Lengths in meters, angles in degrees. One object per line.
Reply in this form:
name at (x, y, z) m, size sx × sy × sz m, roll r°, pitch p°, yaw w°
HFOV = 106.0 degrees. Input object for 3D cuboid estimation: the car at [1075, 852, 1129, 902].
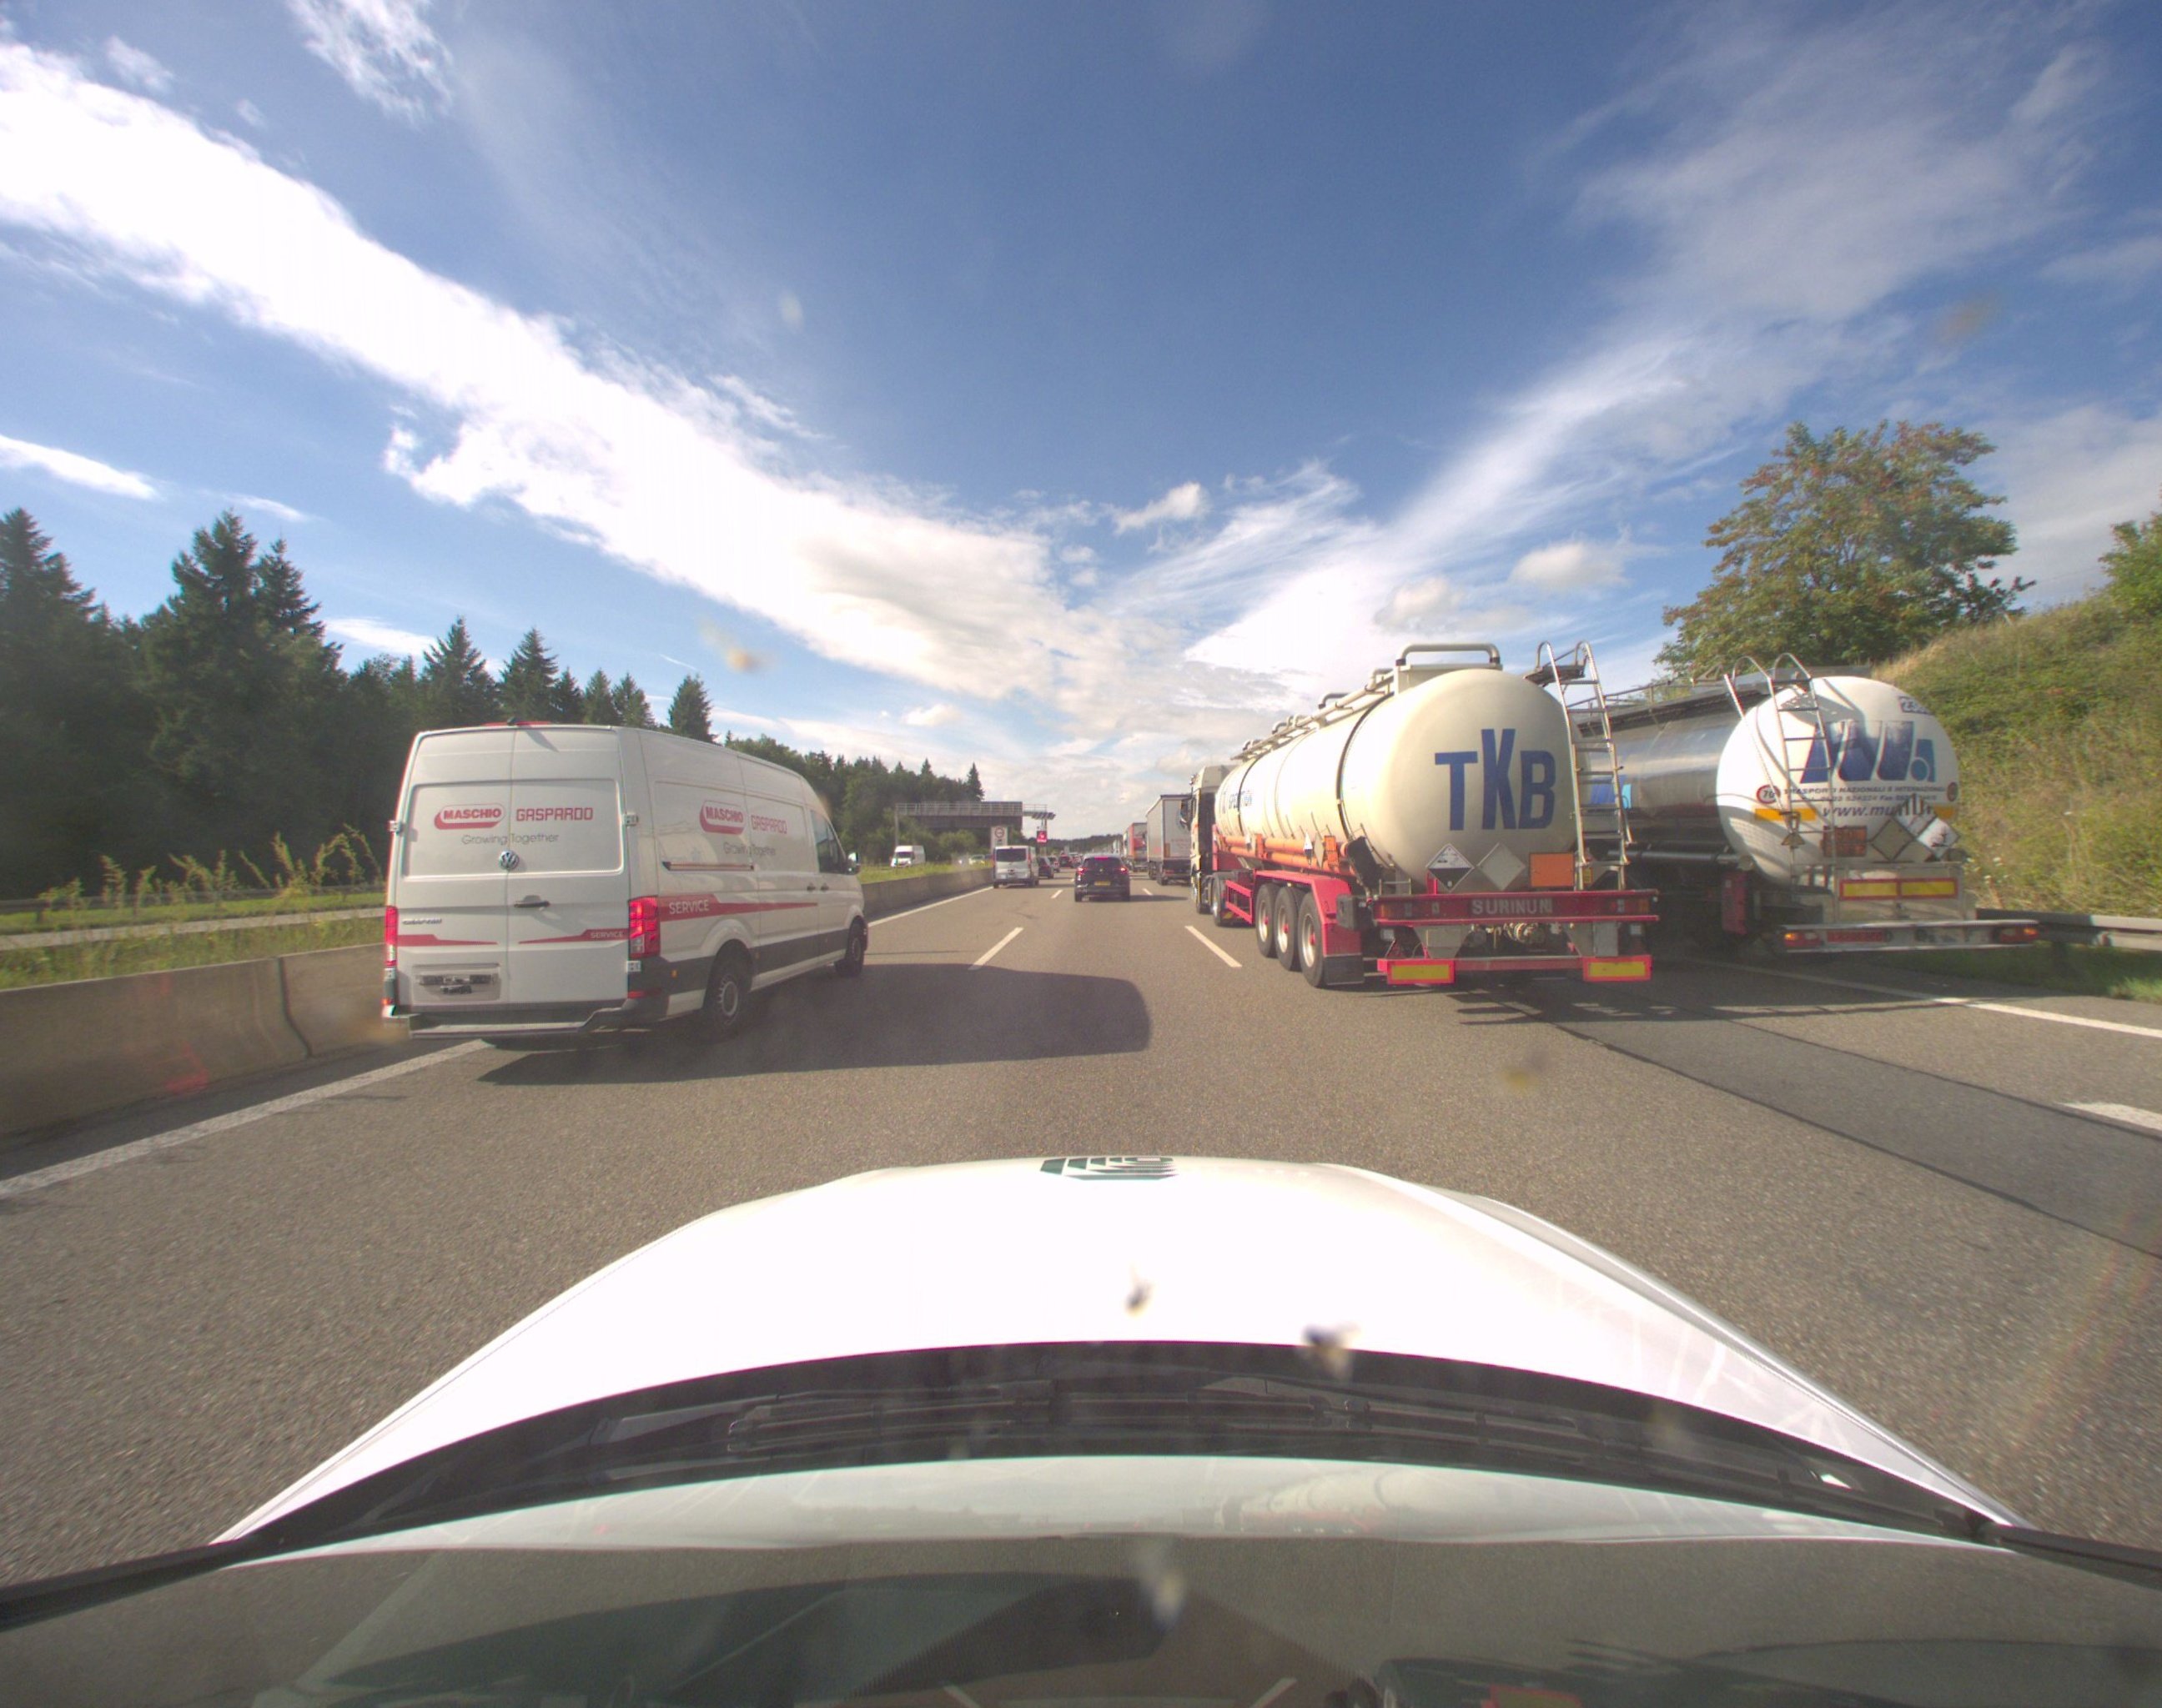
car at (0.769, 0.712, 27.439) m, size 1.690 × 1.483 × 4.163 m, roll 0°, pitch 1°, yaw 3°

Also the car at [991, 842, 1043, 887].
car at (-3.044, 0.491, 39.768) m, size 1.926 × 1.979 × 5.100 m, roll 2°, pitch 0°, yaw 1°

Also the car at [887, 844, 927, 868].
car at (-17.034, 0.205, 80.235) m, size 2.308 × 2.193 × 6.863 m, roll 2°, pitch 0°, yaw 1°

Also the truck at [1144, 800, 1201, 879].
truck at (5.176, -0.765, 47.299) m, size 2.775 × 4.247 × 6.463 m, roll -1°, pitch -1°, yaw 2°

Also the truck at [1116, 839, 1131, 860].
truck at (6.072, -0.642, 116.476) m, size 1.986 × 2.932 × 4.984 m, roll 2°, pitch 0°, yaw 2°

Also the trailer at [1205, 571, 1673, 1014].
trailer at (3.778, -0.477, 12.091) m, size 2.532 × 3.654 × 10.630 m, roll -1°, pitch 0°, yaw 2°

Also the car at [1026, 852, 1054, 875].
car at (-2.576, 0.592, 52.027) m, size 1.494 × 1.396 × 3.477 m, roll -2°, pitch 0°, yaw 1°

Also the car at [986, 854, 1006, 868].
car at (-9.843, 0.761, 94.502) m, size 1.821 × 1.605 × 3.811 m, roll -1°, pitch 0°, yaw 2°

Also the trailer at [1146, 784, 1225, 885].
trailer at (4.897, -0.813, 40.245) m, size 2.791 × 4.244 × 11.062 m, roll -1°, pitch 0°, yaw 2°

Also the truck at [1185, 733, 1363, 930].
truck at (3.969, -0.390, 18.304) m, size 2.524 × 3.584 × 6.731 m, roll -1°, pitch 0°, yaw 2°

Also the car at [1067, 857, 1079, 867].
car at (-0.998, 1.092, 108.325) m, size 1.430 × 1.310 × 3.534 m, roll 2°, pitch 0°, yaw 1°

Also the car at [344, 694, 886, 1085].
car at (-3.885, 0.242, 8.583) m, size 2.008 × 2.599 × 6.183 m, roll -1°, pitch 0°, yaw 1°

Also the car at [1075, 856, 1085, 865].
car at (-0.171, 0.942, 122.990) m, size 1.356 × 1.301 × 3.085 m, roll 2°, pitch 0°, yaw 1°

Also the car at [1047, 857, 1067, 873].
car at (-2.112, 0.956, 72.039) m, size 1.494 × 1.396 × 3.477 m, roll 2°, pitch 0°, yaw 1°

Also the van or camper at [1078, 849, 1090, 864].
van or camper at (0.525, 0.404, 142.856) m, size 1.940 × 2.593 × 7.153 m, roll -1°, pitch 0°, yaw 1°

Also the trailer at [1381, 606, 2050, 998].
trailer at (7.843, -0.454, 12.895) m, size 2.532 × 3.598 × 10.630 m, roll -1°, pitch 0°, yaw 2°

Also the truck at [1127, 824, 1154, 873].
truck at (5.374, -0.478, 74.344) m, size 2.126 × 4.282 × 6.341 m, roll 0°, pitch -1°, yaw 2°

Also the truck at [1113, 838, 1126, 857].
truck at (6.696, -1.112, 141.909) m, size 1.986 × 3.052 × 4.983 m, roll 2°, pitch 0°, yaw 2°

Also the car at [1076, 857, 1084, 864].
car at (-0.188, 1.187, 147.472) m, size 1.356 × 1.159 × 3.085 m, roll -1°, pitch 0°, yaw 1°

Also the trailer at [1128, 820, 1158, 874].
trailer at (5.118, -0.521, 68.397) m, size 2.141 × 4.259 × 8.444 m, roll -1°, pitch 0°, yaw 2°

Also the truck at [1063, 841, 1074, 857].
truck at (-3.083, -1.177, 201.065) m, size 2.335 × 3.594 × 6.307 m, roll 2°, pitch 0°, yaw 2°

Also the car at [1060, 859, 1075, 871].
car at (-1.475, 1.220, 90.608) m, size 1.430 × 1.310 × 3.534 m, roll 2°, pitch 0°, yaw 1°

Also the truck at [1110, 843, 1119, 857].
truck at (7.744, -0.878, 187.579) m, size 1.986 × 3.052 × 4.983 m, roll 2°, pitch 0°, yaw 2°

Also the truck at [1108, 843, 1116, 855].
truck at (8.158, -1.226, 214.125) m, size 1.986 × 3.052 × 4.983 m, roll 2°, pitch 0°, yaw 2°
